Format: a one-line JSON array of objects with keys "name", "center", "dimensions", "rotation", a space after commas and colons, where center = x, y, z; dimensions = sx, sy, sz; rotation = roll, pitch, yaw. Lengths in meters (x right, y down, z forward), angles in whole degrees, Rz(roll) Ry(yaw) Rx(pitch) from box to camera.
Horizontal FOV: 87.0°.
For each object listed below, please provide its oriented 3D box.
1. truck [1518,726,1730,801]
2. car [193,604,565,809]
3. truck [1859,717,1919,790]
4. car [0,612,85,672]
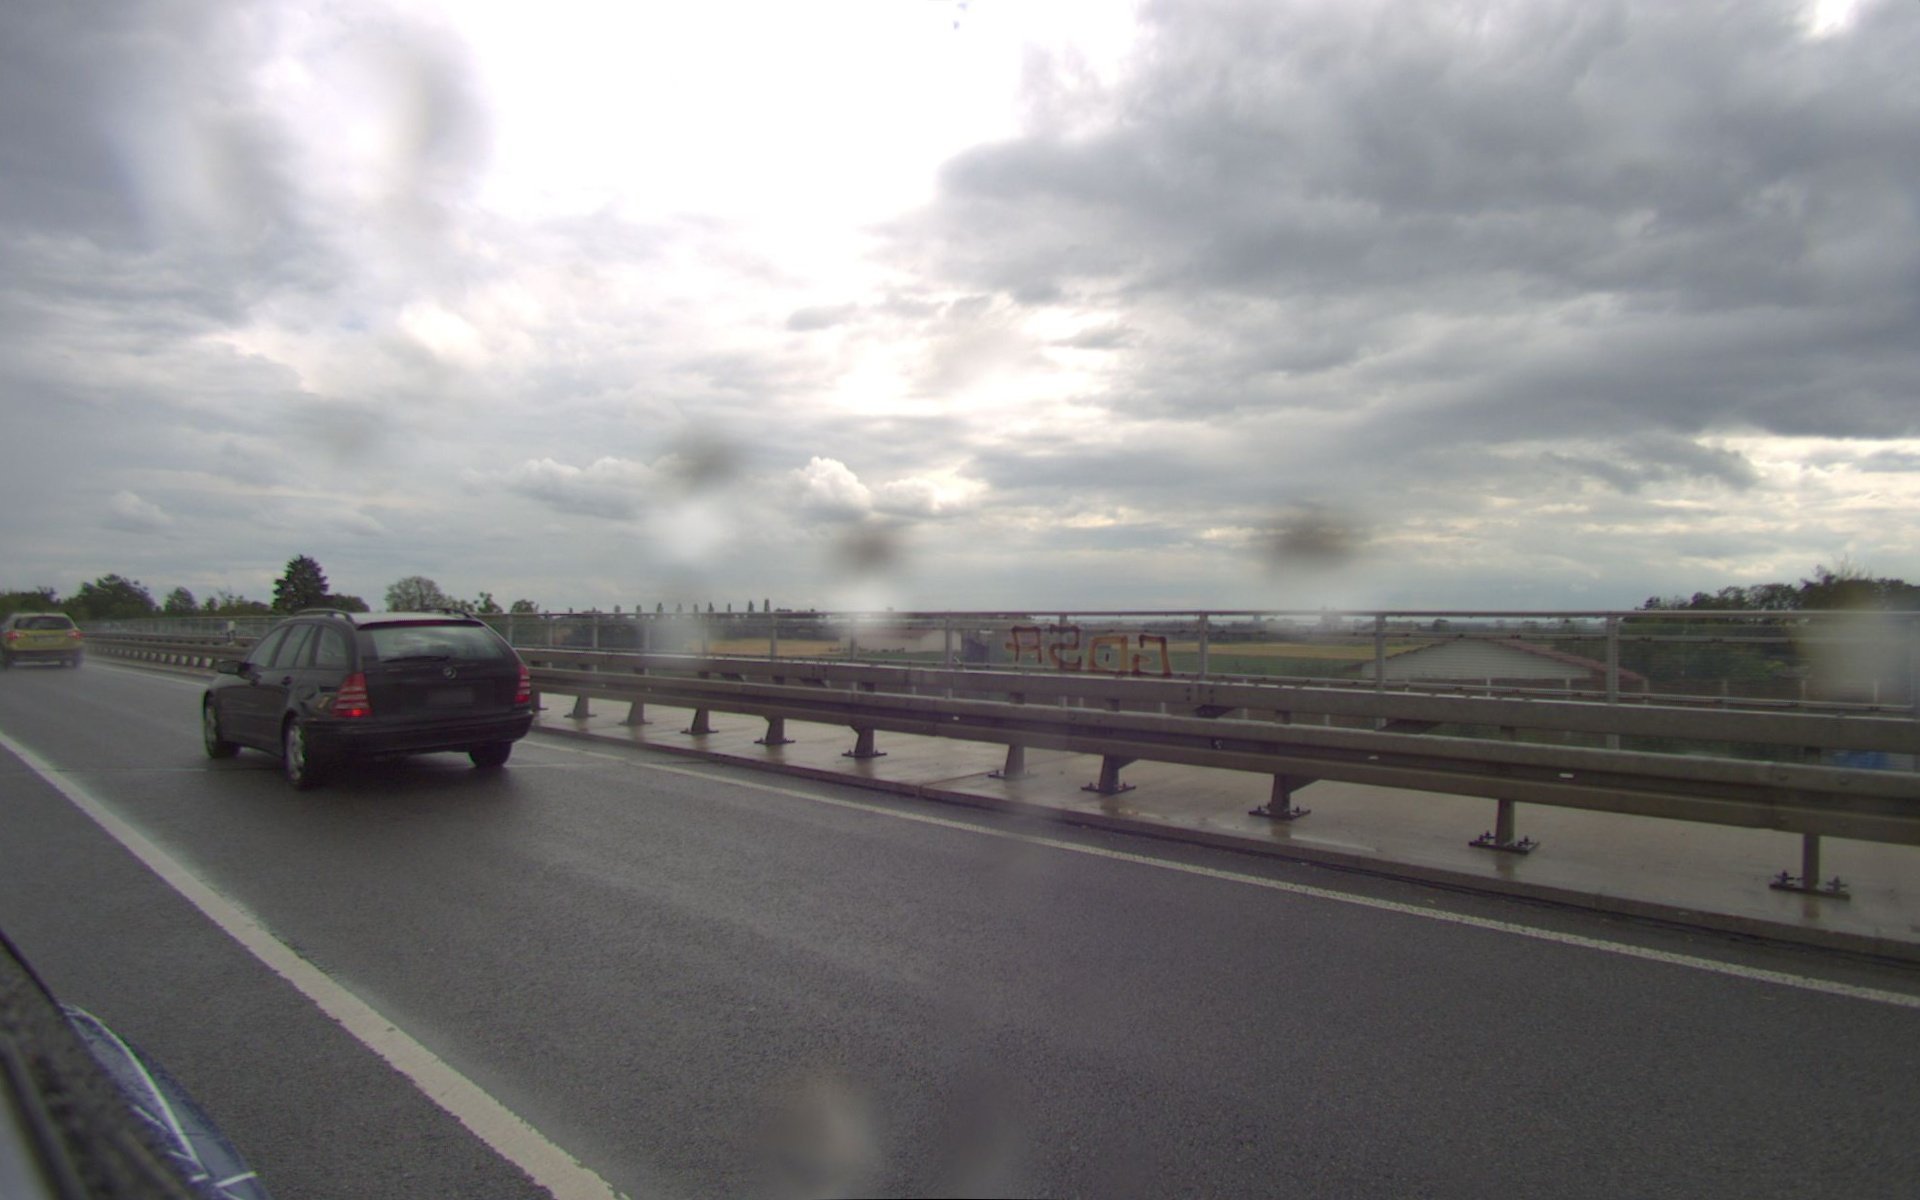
[{"name": "truck", "center": [39.302, 9.658, 60.039], "dimensions": [11.007, 3.790, 2.438], "rotation": [-1, 0, -2]}, {"name": "car", "center": [-5.479, 0.796, 9.285], "dimensions": [4.321, 1.443, 1.679], "rotation": [-1, 0, 42]}, {"name": "truck", "center": [58.845, 8.797, 58.922], "dimensions": [11.007, 3.790, 2.438], "rotation": [-1, 0, -2]}, {"name": "car", "center": [-26.650, 1.160, 29.147], "dimensions": [3.858, 1.528, 1.696], "rotation": [0, 1, 42]}]
